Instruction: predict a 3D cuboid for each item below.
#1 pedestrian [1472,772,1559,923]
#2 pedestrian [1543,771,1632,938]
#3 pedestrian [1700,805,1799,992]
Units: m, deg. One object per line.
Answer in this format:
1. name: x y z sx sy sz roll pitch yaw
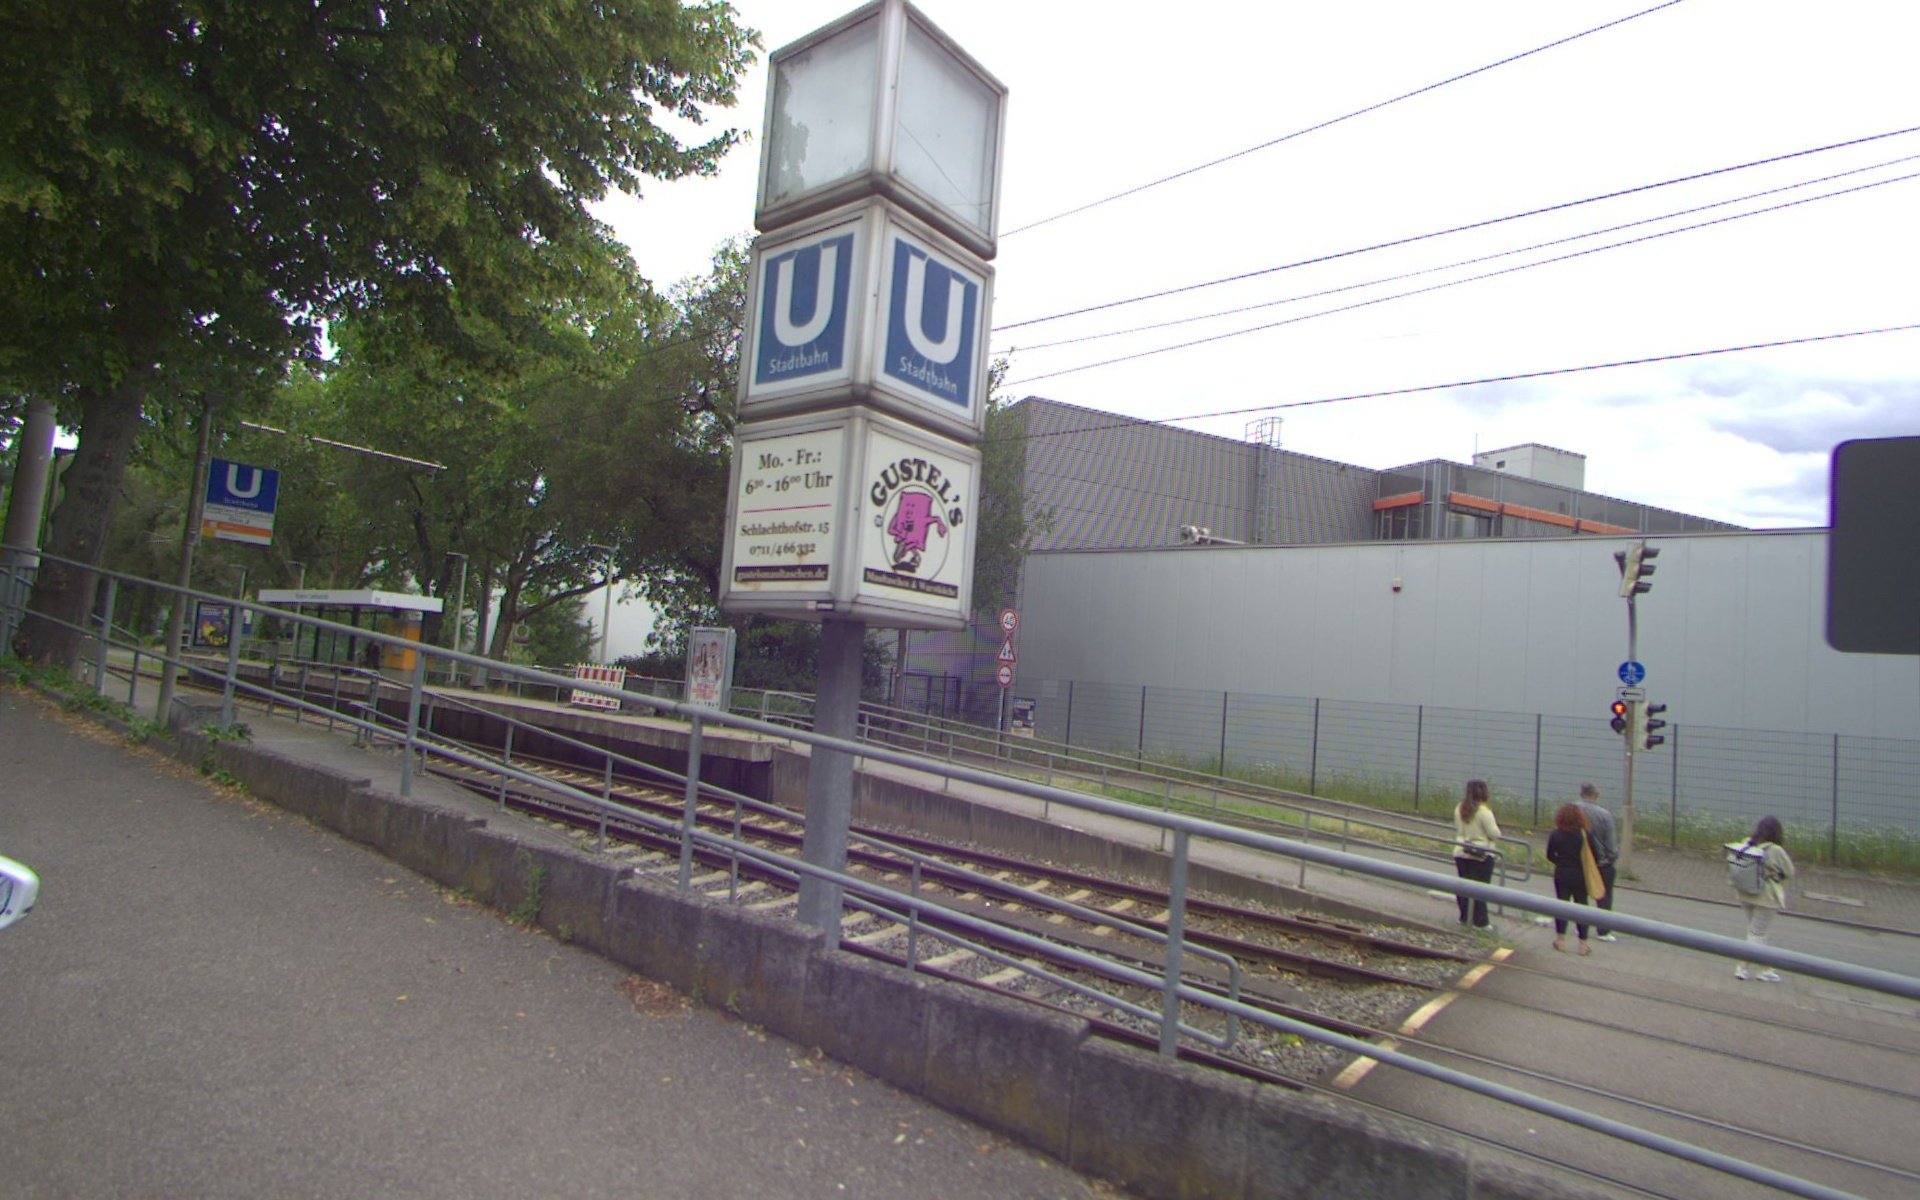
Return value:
1. pedestrian: 6.839 3.020 12.384 0.728 1.681 0.679 1 -8 43
2. pedestrian: 7.362 2.954 11.797 0.728 1.775 0.549 0 -8 44
3. pedestrian: 7.997 2.980 10.210 0.727 1.681 0.681 2 -7 37
